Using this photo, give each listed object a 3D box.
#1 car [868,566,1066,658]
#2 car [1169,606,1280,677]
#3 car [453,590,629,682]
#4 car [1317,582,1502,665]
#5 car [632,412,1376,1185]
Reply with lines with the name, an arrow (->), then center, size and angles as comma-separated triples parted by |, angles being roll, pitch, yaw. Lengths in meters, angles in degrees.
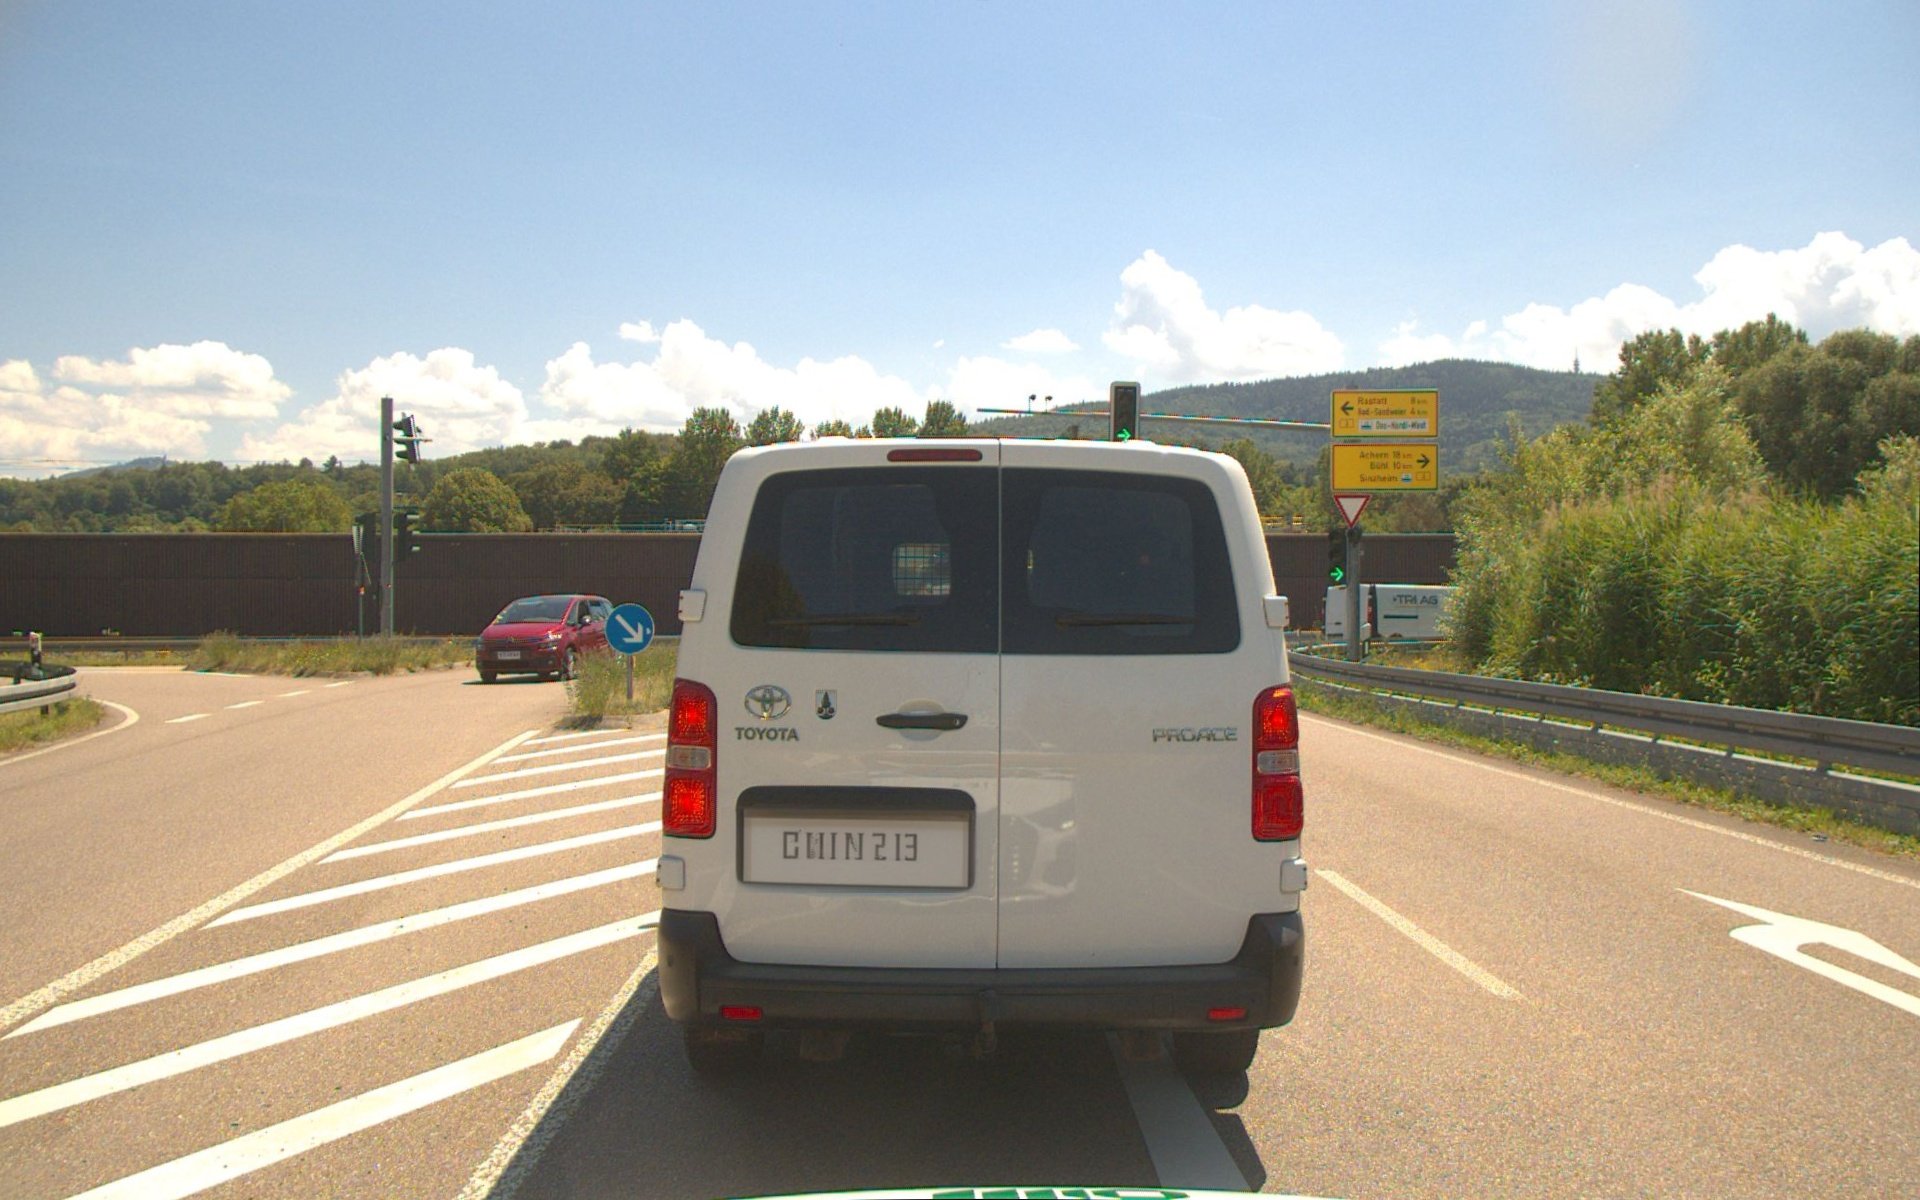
car -> 0.198, 0.327, 46.765 | 5.265, 2.493, 2.028 | 0, 0, -20
car -> 5.832, 0.878, 36.169 | 1.622, 1.456, 3.364 | 0, 0, 23
car -> -8.182, 0.677, 32.723 | 1.951, 1.685, 4.327 | 0, 0, 7
car -> 11.621, 0.600, 42.652 | 4.776, 2.035, 1.913 | 1, -1, -33
car -> 0.070, 0.513, 6.142 | 1.848, 1.919, 3.999 | 1, 0, -2
